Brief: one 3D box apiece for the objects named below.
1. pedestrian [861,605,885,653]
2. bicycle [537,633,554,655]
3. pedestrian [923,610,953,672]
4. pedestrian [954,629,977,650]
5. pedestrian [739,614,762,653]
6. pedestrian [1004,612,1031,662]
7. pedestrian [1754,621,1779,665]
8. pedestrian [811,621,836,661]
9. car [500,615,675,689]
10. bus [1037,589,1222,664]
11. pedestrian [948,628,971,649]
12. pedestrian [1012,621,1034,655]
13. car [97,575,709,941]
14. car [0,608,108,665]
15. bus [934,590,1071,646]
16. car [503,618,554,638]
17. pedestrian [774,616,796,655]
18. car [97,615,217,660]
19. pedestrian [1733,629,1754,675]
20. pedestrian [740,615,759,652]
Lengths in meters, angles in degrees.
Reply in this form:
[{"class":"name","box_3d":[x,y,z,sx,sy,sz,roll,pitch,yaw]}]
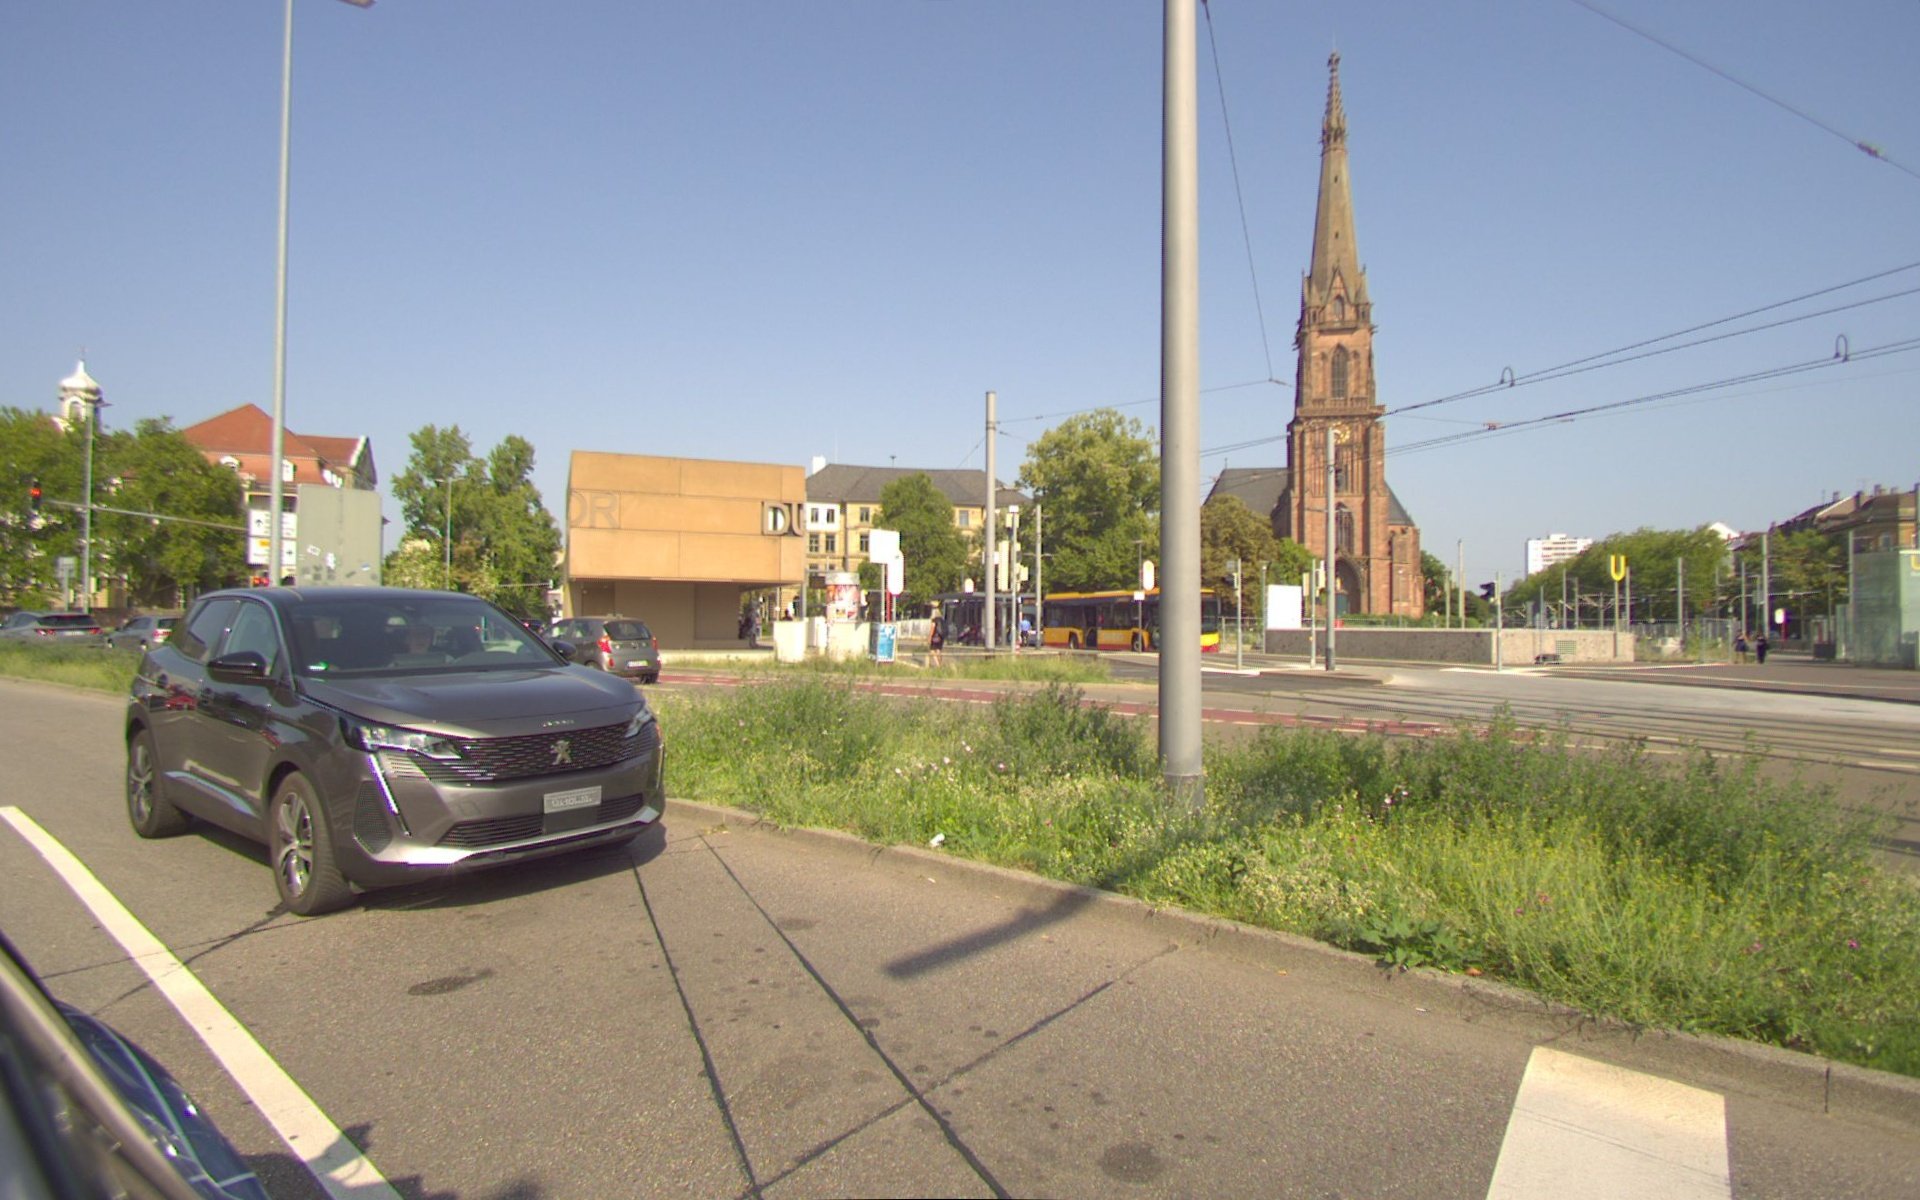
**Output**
[{"class":"pedestrian","box_3d":[-3.384,1.133,39.345,0.689,1.814,0.782,1,-2,-24]},{"class":"bicycle","box_3d":[-17.337,1.827,42.337,0.582,0.844,1.552,-2,-1,-21]},{"class":"pedestrian","box_3d":[-0.659,1.207,30.190,0.689,1.814,0.782,1,-2,-17]},{"class":"pedestrian","box_3d":[0.279,2.125,54.491,1.013,1.142,0.740,1,-2,-30]},{"class":"pedestrian","box_3d":[-9.274,1.485,44.822,0.851,1.718,0.734,1,-2,-26]},{"class":"pedestrian","box_3d":[2.125,1.364,37.555,0.699,1.814,0.771,-1,-2,33]},{"class":"pedestrian","box_3d":[33.148,1.774,41.606,0.751,1.796,0.698,-1,-2,37]},{"class":"pedestrian","box_3d":[-5.500,1.639,40.696,0.851,1.571,0.993,1,-2,-15]},{"class":"car","box_3d":[-8.139,1.085,22.039,3.667,1.463,1.872,-1,-2,36]},{"class":"bus","box_3d":[7.617,1.272,48.285,2.669,3.132,12.254,1,-2,-22]},{"class":"pedestrian","box_3d":[-0.006,2.123,55.316,1.013,1.142,0.740,1,-2,-30]},{"class":"pedestrian","box_3d":[3.306,1.986,53.029,0.816,1.752,0.838,1,-2,-30]},{"class":"car","box_3d":[-3.600,0.702,6.183,4.365,1.503,1.667,-1,-2,38]},{"class":"car","box_3d":[-27.788,1.073,30.542,4.442,1.629,1.683,0,-2,29]},{"class":"bus","box_3d":[2.216,1.156,61.001,3.242,3.000,12.838,1,-2,-22]},{"class":"car","box_3d":[-36.681,2.427,86.112,1.978,1.646,4.358,0,-2,10]},{"class":"pedestrian","box_3d":[-7.438,1.494,43.042,0.707,1.642,0.859,1,-2,-23]},{"class":"car","box_3d":[-26.810,1.222,33.769,4.210,1.444,1.800,-1,-2,32]},{"class":"pedestrian","box_3d":[32.539,2.163,42.022,0.652,1.880,0.712,-1,-2,37]},{"class":"pedestrian","box_3d":[-9.994,1.577,48.125,0.707,1.751,0.859,1,-2,-23]}]
